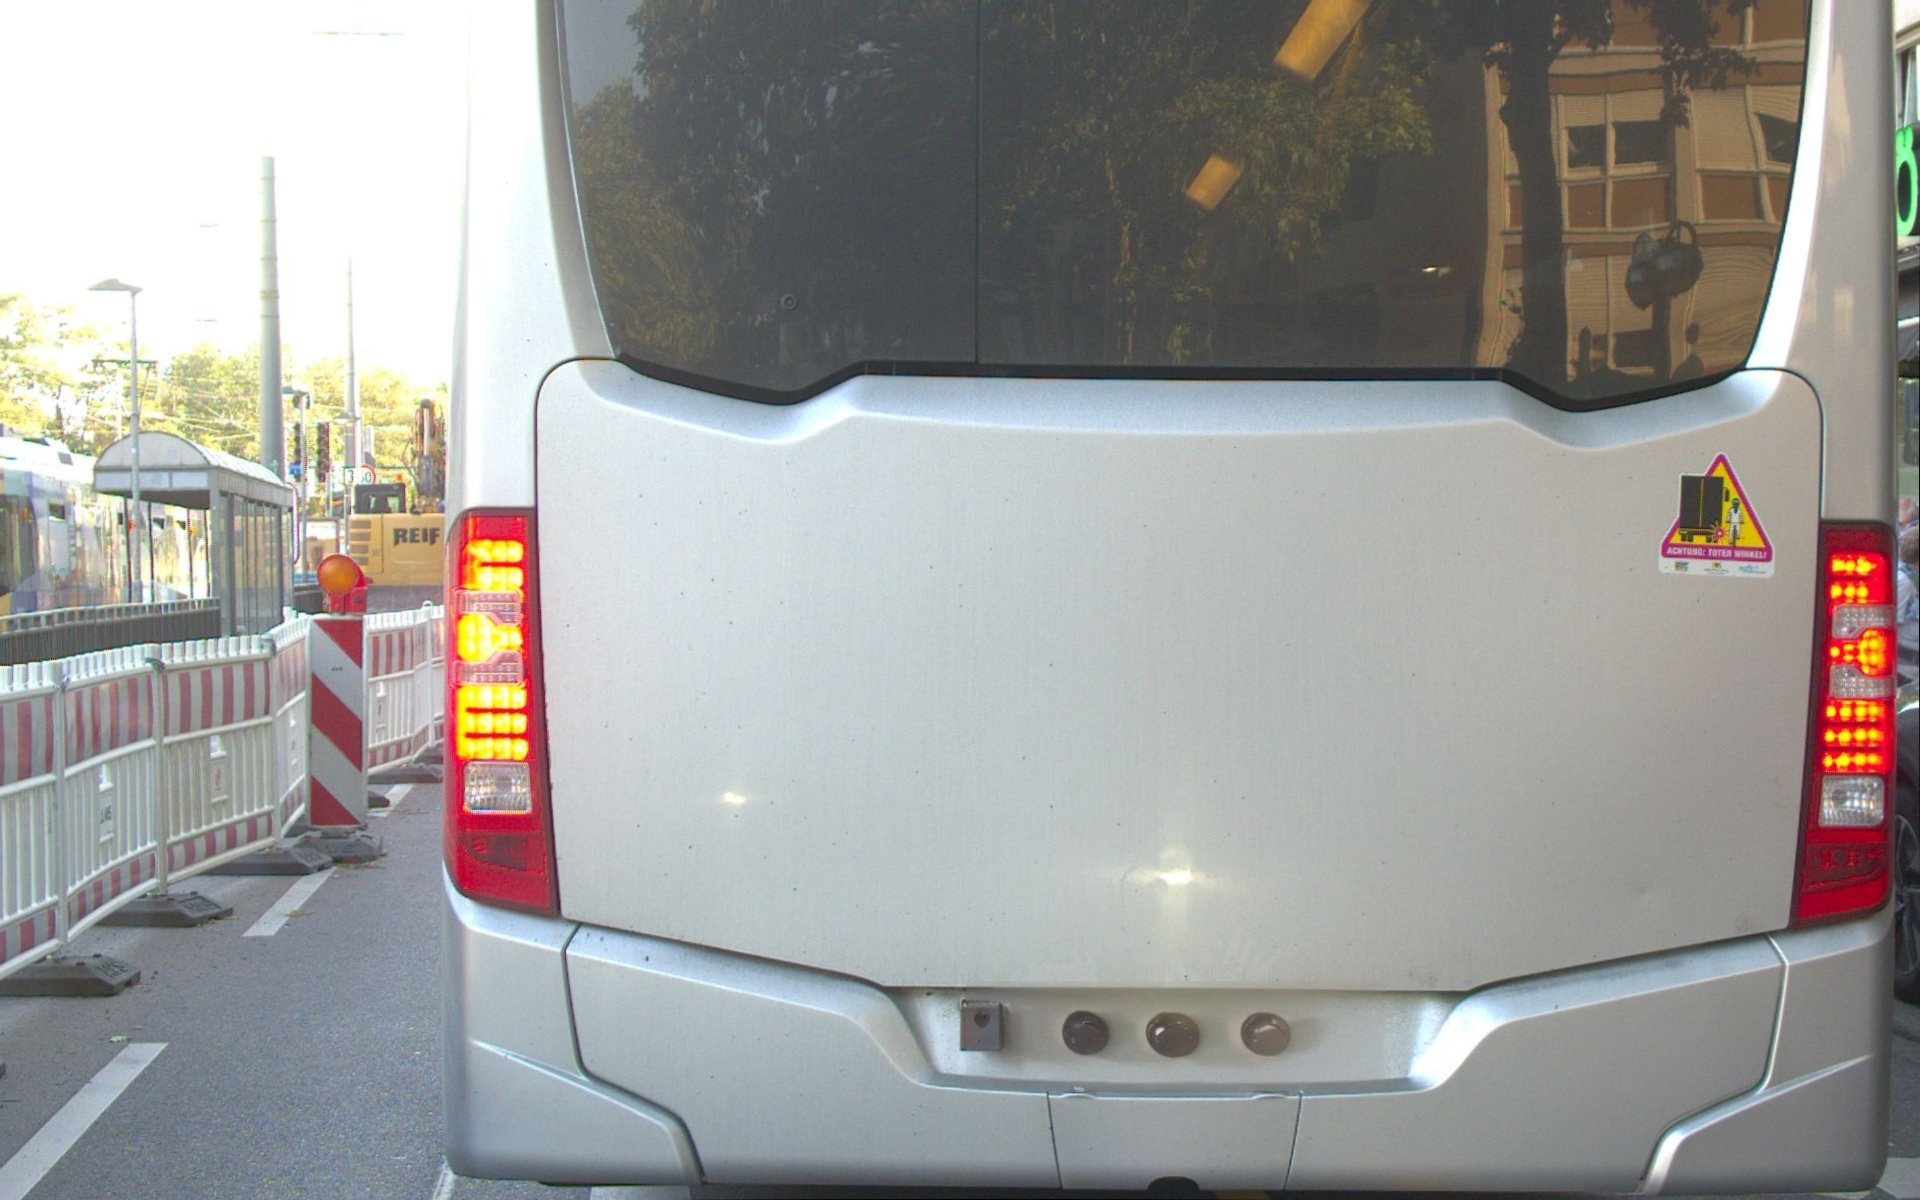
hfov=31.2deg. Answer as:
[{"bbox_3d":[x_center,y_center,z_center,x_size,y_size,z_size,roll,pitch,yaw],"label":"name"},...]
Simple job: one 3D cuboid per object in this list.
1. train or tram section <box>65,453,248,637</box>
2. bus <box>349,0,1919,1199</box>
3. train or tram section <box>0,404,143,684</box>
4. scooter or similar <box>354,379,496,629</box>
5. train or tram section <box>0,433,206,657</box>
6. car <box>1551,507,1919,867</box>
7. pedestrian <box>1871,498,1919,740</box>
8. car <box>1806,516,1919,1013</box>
[{"bbox_3d":[-16.690,-1.120,72.103,2.686,3.521,11.585,1,1,-8],"label":"train or tram section"},{"bbox_3d":[0.308,-0.196,9.485,2.611,3.115,7.993,1,1,-1],"label":"bus"},{"bbox_3d":[-13.823,-0.784,48.960,2.686,3.521,11.774,1,1,-6],"label":"train or tram section"},{"bbox_3d":[-9.980,-1.754,64.520,2.468,4.455,5.974,-1,1,-8],"label":"scooter or similar"},{"bbox_3d":[-15.142,-0.945,60.589,2.686,3.546,11.585,1,1,-8],"label":"train or tram section"},{"bbox_3d":[4.662,0.339,17.930,1.993,1.576,4.369,-3,1,-5],"label":"car"},{"bbox_3d":[6.731,0.122,23.949,0.664,1.661,0.600,-2,0,16],"label":"pedestrian"},{"bbox_3d":[4.142,0.511,9.778,1.993,1.576,4.369,-3,1,-5],"label":"car"}]
